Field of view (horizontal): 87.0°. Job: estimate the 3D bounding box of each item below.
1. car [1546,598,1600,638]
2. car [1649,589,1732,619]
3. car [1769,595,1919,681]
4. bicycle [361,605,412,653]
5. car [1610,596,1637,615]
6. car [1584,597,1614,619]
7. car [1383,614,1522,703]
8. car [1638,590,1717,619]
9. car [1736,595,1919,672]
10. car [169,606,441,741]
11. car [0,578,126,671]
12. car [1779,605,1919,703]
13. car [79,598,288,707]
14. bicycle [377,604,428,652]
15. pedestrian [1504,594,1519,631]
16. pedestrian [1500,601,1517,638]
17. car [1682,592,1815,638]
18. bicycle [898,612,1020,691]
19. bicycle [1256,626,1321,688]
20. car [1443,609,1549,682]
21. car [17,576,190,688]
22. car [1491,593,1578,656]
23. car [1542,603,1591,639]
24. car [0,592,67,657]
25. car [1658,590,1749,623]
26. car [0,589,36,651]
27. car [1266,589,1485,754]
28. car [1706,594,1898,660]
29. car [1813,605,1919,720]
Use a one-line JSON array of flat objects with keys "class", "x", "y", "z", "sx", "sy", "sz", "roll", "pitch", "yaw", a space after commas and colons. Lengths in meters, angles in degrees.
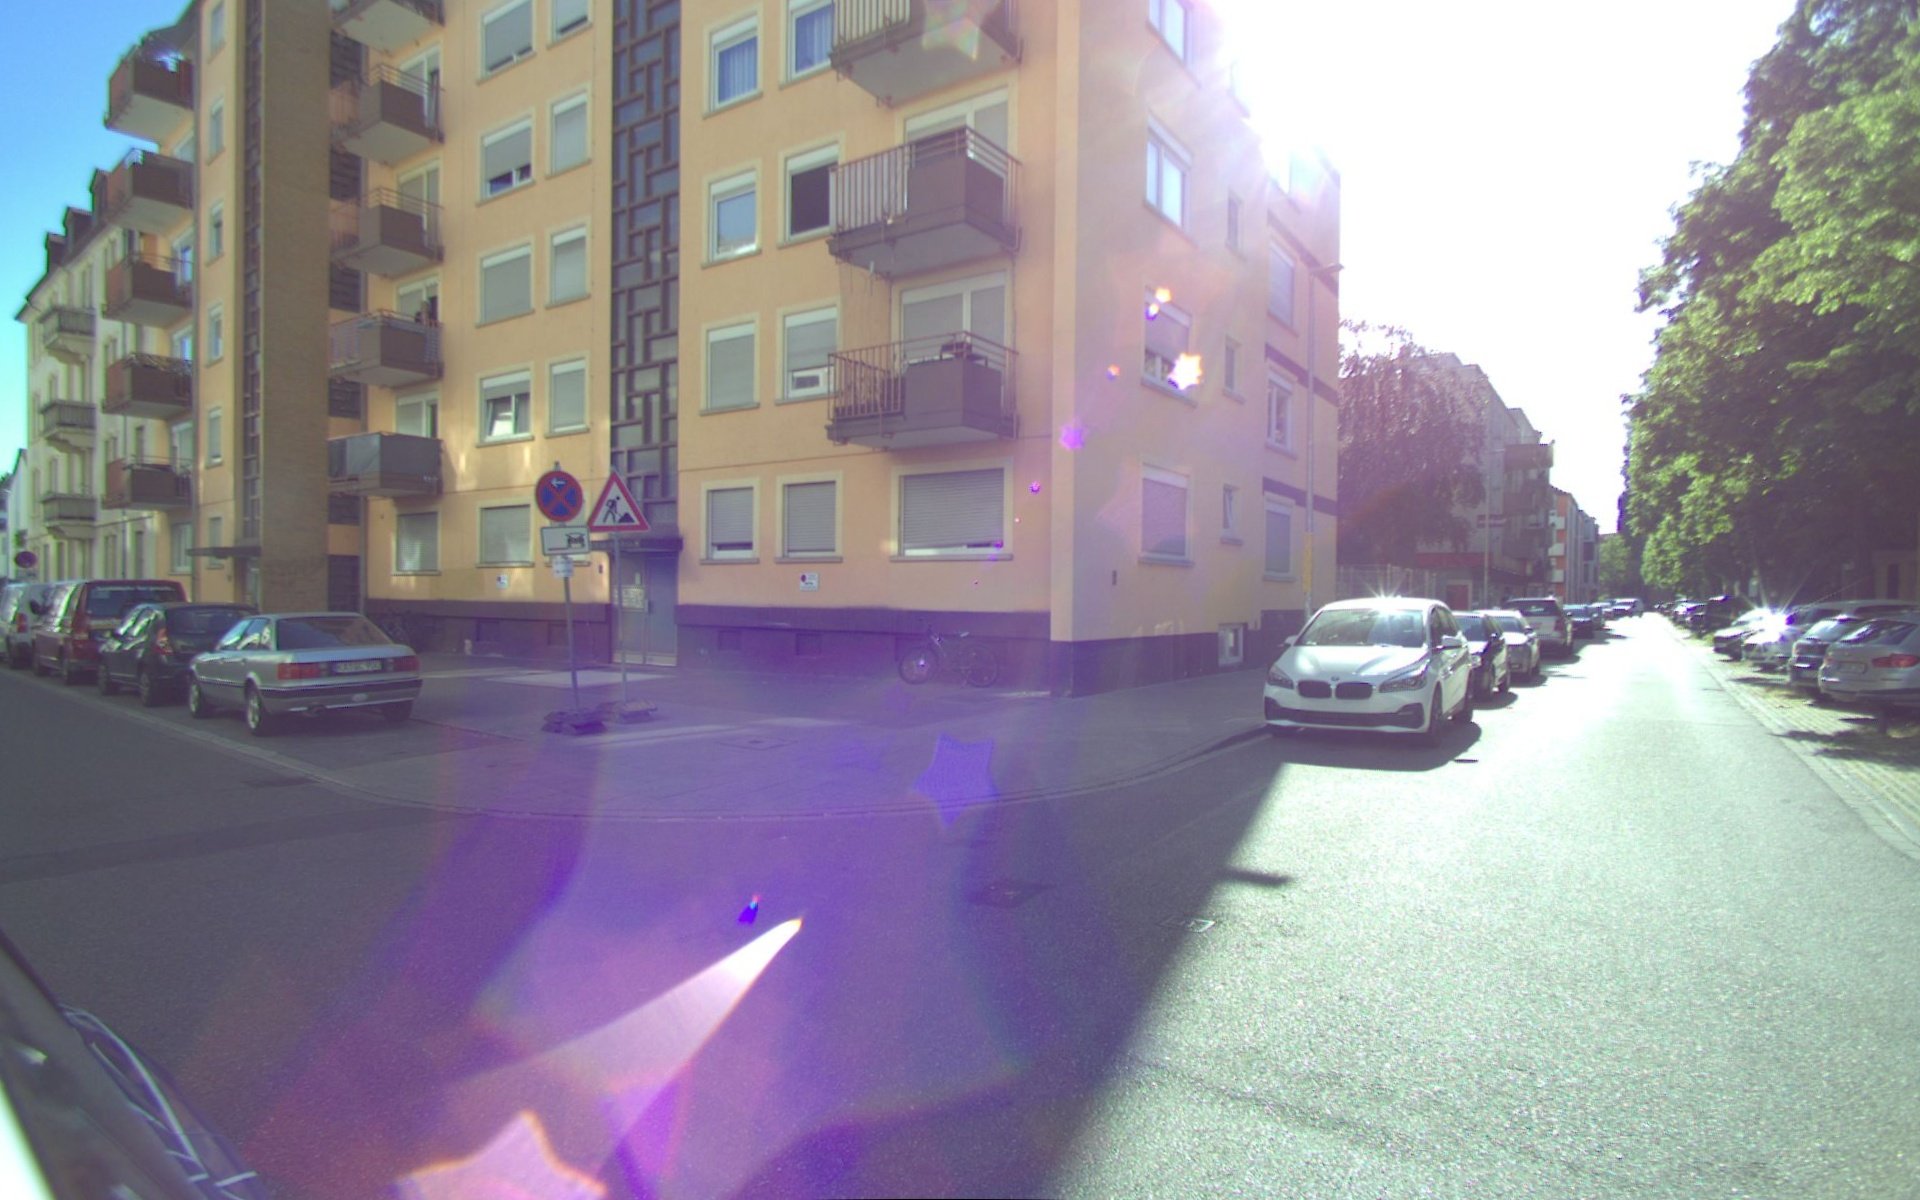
[{"class": "car", "x": 29.178, "y": 0.813, "z": 48.143, "sx": 2.102, "sy": 1.779, "sz": 4.460, "roll": 0, "pitch": 0, "yaw": 32}, {"class": "car", "x": 42.424, "y": 0.261, "z": 58.883, "sx": 3.586, "sy": 1.680, "sz": 1.691, "roll": -1, "pitch": 0, "yaw": 23}, {"class": "car", "x": 18.632, "y": 0.733, "z": 20.134, "sx": 3.586, "sy": 1.621, "sz": 1.691, "roll": -1, "pitch": 0, "yaw": 23}, {"class": "bicycle", "x": -13.827, "y": 0.678, "z": 24.396, "sx": 1.759, "sy": 1.122, "sz": 0.338, "roll": 0, "pitch": 0, "yaw": 35}, {"class": "car", "x": 64.299, "y": 0.494, "z": 98.183, "sx": 2.102, "sy": 1.779, "sz": 4.460, "roll": 0, "pitch": 0, "yaw": 32}, {"class": "car", "x": 54.138, "y": 0.672, "z": 85.698, "sx": 2.102, "sy": 1.779, "sz": 4.460, "roll": 0, "pitch": 0, "yaw": 32}, {"class": "car", "x": 8.657, "y": 0.917, "z": 17.591, "sx": 1.722, "sy": 1.320, "sz": 4.165, "roll": 0, "pitch": 0, "yaw": 32}, {"class": "car", "x": 43.938, "y": 0.287, "z": 62.049, "sx": 3.586, "sy": 1.680, "sz": 1.691, "roll": -1, "pitch": 0, "yaw": 23}, {"class": "car", "x": 20.432, "y": 0.759, "z": 23.417, "sx": 3.586, "sy": 1.680, "sz": 1.691, "roll": -1, "pitch": 0, "yaw": 23}, {"class": "car", "x": -8.534, "y": 0.808, "z": 13.023, "sx": 4.475, "sy": 1.388, "sz": 1.744, "roll": 0, "pitch": 1, "yaw": 41}, {"class": "car", "x": -21.388, "y": 0.496, "z": 23.668, "sx": 5.304, "sy": 1.939, "sz": 1.956, "roll": 0, "pitch": 1, "yaw": 40}, {"class": "car", "x": 15.473, "y": 0.811, "z": 15.525, "sx": 4.170, "sy": 1.437, "sz": 1.699, "roll": 0, "pitch": 0, "yaw": 11}, {"class": "car", "x": -12.474, "y": 0.747, "z": 16.186, "sx": 3.995, "sy": 1.514, "sz": 1.745, "roll": 0, "pitch": -1, "yaw": 39}, {"class": "bicycle", "x": -13.623, "y": 0.673, "z": 24.721, "sx": 1.759, "sy": 1.122, "sz": 0.338, "roll": 0, "pitch": 0, "yaw": 35}, {"class": "pedestrian", "x": 29.240, "y": 0.653, "z": 53.666, "sx": 0.660, "sy": 1.918, "sz": 0.520, "roll": 0, "pitch": 0, "yaw": 35}, {"class": "pedestrian", "x": 24.870, "y": 0.875, "z": 45.885, "sx": 0.660, "sy": 1.653, "sz": 0.520, "roll": 0, "pitch": 0, "yaw": 35}, {"class": "car", "x": 29.649, "y": 0.551, "z": 38.182, "sx": 3.586, "sy": 1.680, "sz": 1.691, "roll": -1, "pitch": 0, "yaw": 23}, {"class": "bicycle", "x": -0.037, "y": 0.741, "z": 15.158, "sx": 1.889, "sy": 1.071, "sz": 0.499, "roll": 0, "pitch": 2, "yaw": 36}, {"class": "bicycle", "x": 5.629, "y": 0.953, "z": 17.282, "sx": 0.399, "sy": 0.973, "sz": 1.672, "roll": 4, "pitch": 2, "yaw": 41}, {"class": "car", "x": 11.741, "y": 0.904, "z": 22.058, "sx": 1.722, "sy": 1.415, "sz": 4.165, "roll": 0, "pitch": 0, "yaw": 32}, {"class": "car", "x": -16.784, "y": 0.534, "z": 19.736, "sx": 4.930, "sy": 1.939, "sz": 1.745, "roll": 0, "pitch": 1, "yaw": 40}, {"class": "car", "x": 17.684, "y": 0.697, "z": 31.060, "sx": 2.102, "sy": 1.779, "sz": 4.460, "roll": 0, "pitch": 0, "yaw": 32}, {"class": "car", "x": 31.878, "y": 1.055, "z": 53.124, "sx": 2.102, "sy": 1.779, "sz": 4.460, "roll": 0, "pitch": 0, "yaw": 32}, {"class": "car", "x": -25.592, "y": 0.603, "z": 27.200, "sx": 4.291, "sy": 1.633, "sz": 1.745, "roll": 0, "pitch": 1, "yaw": 40}, {"class": "car", "x": 39.620, "y": 0.329, "z": 54.013, "sx": 3.586, "sy": 1.680, "sz": 1.691, "roll": -1, "pitch": 0, "yaw": 23}, {"class": "car", "x": -29.296, "y": 0.571, "z": 30.383, "sx": 4.290, "sy": 1.784, "sz": 1.745, "roll": 0, "pitch": 1, "yaw": 40}, {"class": "car", "x": 5.172, "y": 0.708, "z": 12.235, "sx": 1.722, "sy": 1.605, "sz": 4.399, "roll": 0, "pitch": 0, "yaw": 32}, {"class": "car", "x": 22.458, "y": 0.706, "z": 27.171, "sx": 3.586, "sy": 1.680, "sz": 1.691, "roll": -1, "pitch": 0, "yaw": 23}, {"class": "car", "x": 14.114, "y": 0.796, "z": 13.249, "sx": 4.170, "sy": 1.449, "sz": 1.699, "roll": 0, "pitch": 0, "yaw": 11}]
